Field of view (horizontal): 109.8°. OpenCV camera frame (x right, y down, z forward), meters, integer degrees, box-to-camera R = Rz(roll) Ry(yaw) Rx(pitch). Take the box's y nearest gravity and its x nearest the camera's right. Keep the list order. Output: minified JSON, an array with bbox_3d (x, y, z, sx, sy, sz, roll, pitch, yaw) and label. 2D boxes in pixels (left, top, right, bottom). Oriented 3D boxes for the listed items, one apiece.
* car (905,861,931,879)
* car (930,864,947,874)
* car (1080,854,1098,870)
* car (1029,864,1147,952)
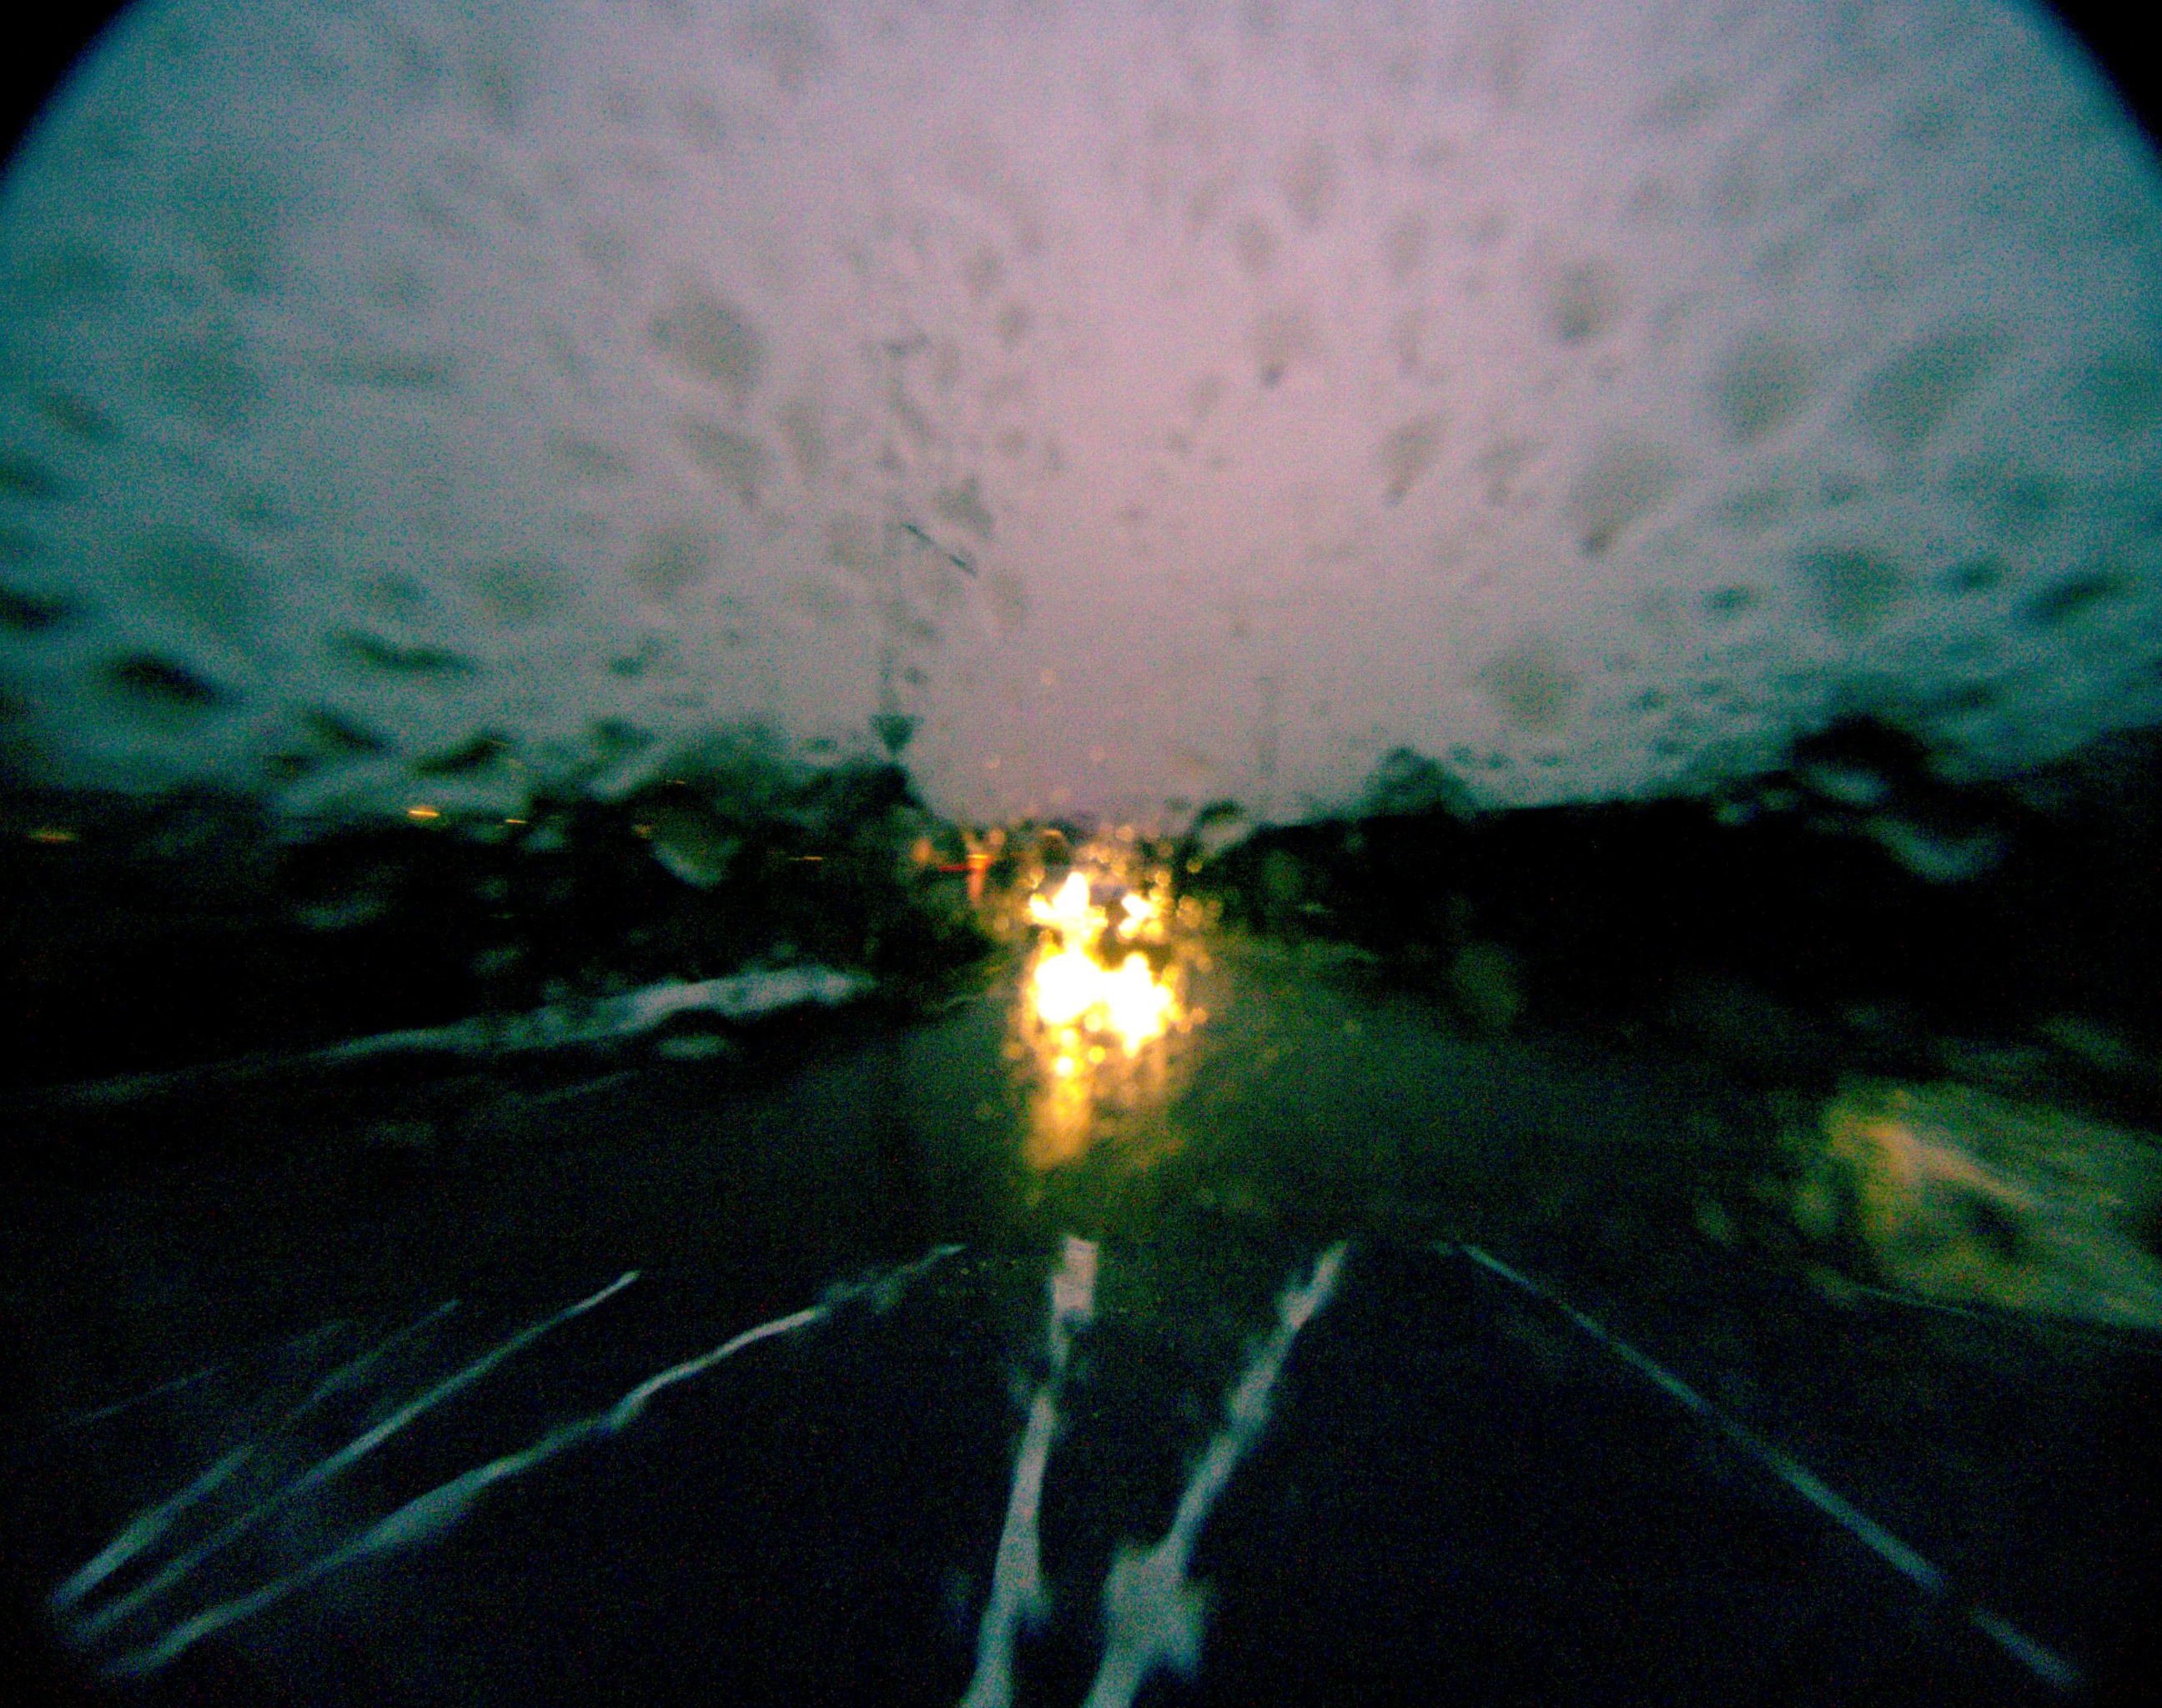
[{"bbox_3d":[-23.716,2.326,110.334,2.285,2.425,5.227,2,0,-27],"label":"car"},{"bbox_3d":[-21.876,2.299,116.735,1.717,1.404,4.005,2,0,-24],"label":"car"},{"bbox_3d":[0.752,0.732,72.581,1.611,1.461,3.685,1,0,-1],"label":"car"},{"bbox_3d":[0.003,1.041,16.496,1.811,1.453,4.240,-1,2,-10],"label":"car"}]
